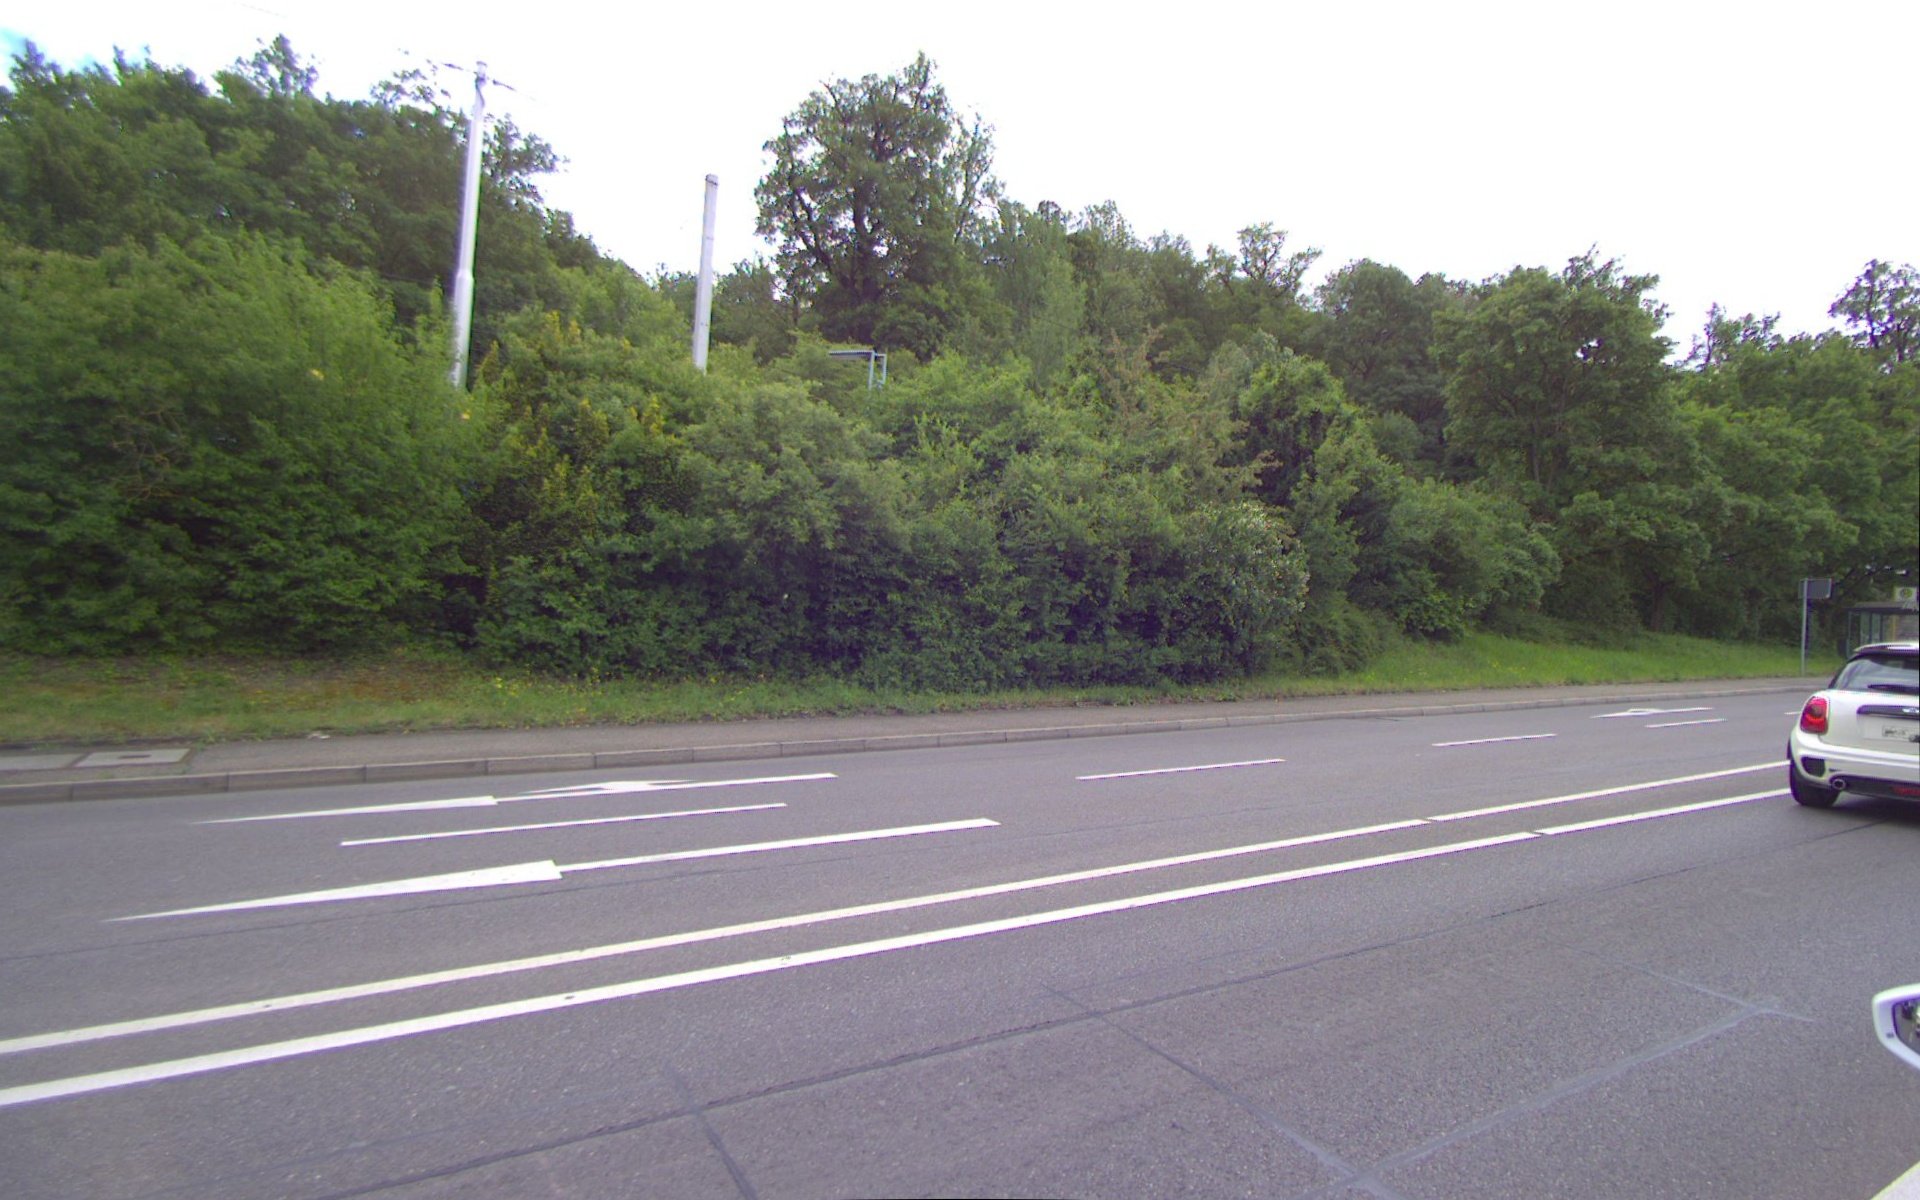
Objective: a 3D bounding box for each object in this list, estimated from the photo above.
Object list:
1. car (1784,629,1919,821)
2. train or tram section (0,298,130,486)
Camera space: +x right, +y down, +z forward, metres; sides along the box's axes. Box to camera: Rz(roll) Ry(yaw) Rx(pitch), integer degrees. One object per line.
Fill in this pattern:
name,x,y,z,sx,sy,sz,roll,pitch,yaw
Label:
car,8.611,0.985,8.467,3.528,1.412,1.618,2,-1,-33
train or tram section,-19.909,-4.044,17.545,8.073,3.084,2.043,3,0,-35
